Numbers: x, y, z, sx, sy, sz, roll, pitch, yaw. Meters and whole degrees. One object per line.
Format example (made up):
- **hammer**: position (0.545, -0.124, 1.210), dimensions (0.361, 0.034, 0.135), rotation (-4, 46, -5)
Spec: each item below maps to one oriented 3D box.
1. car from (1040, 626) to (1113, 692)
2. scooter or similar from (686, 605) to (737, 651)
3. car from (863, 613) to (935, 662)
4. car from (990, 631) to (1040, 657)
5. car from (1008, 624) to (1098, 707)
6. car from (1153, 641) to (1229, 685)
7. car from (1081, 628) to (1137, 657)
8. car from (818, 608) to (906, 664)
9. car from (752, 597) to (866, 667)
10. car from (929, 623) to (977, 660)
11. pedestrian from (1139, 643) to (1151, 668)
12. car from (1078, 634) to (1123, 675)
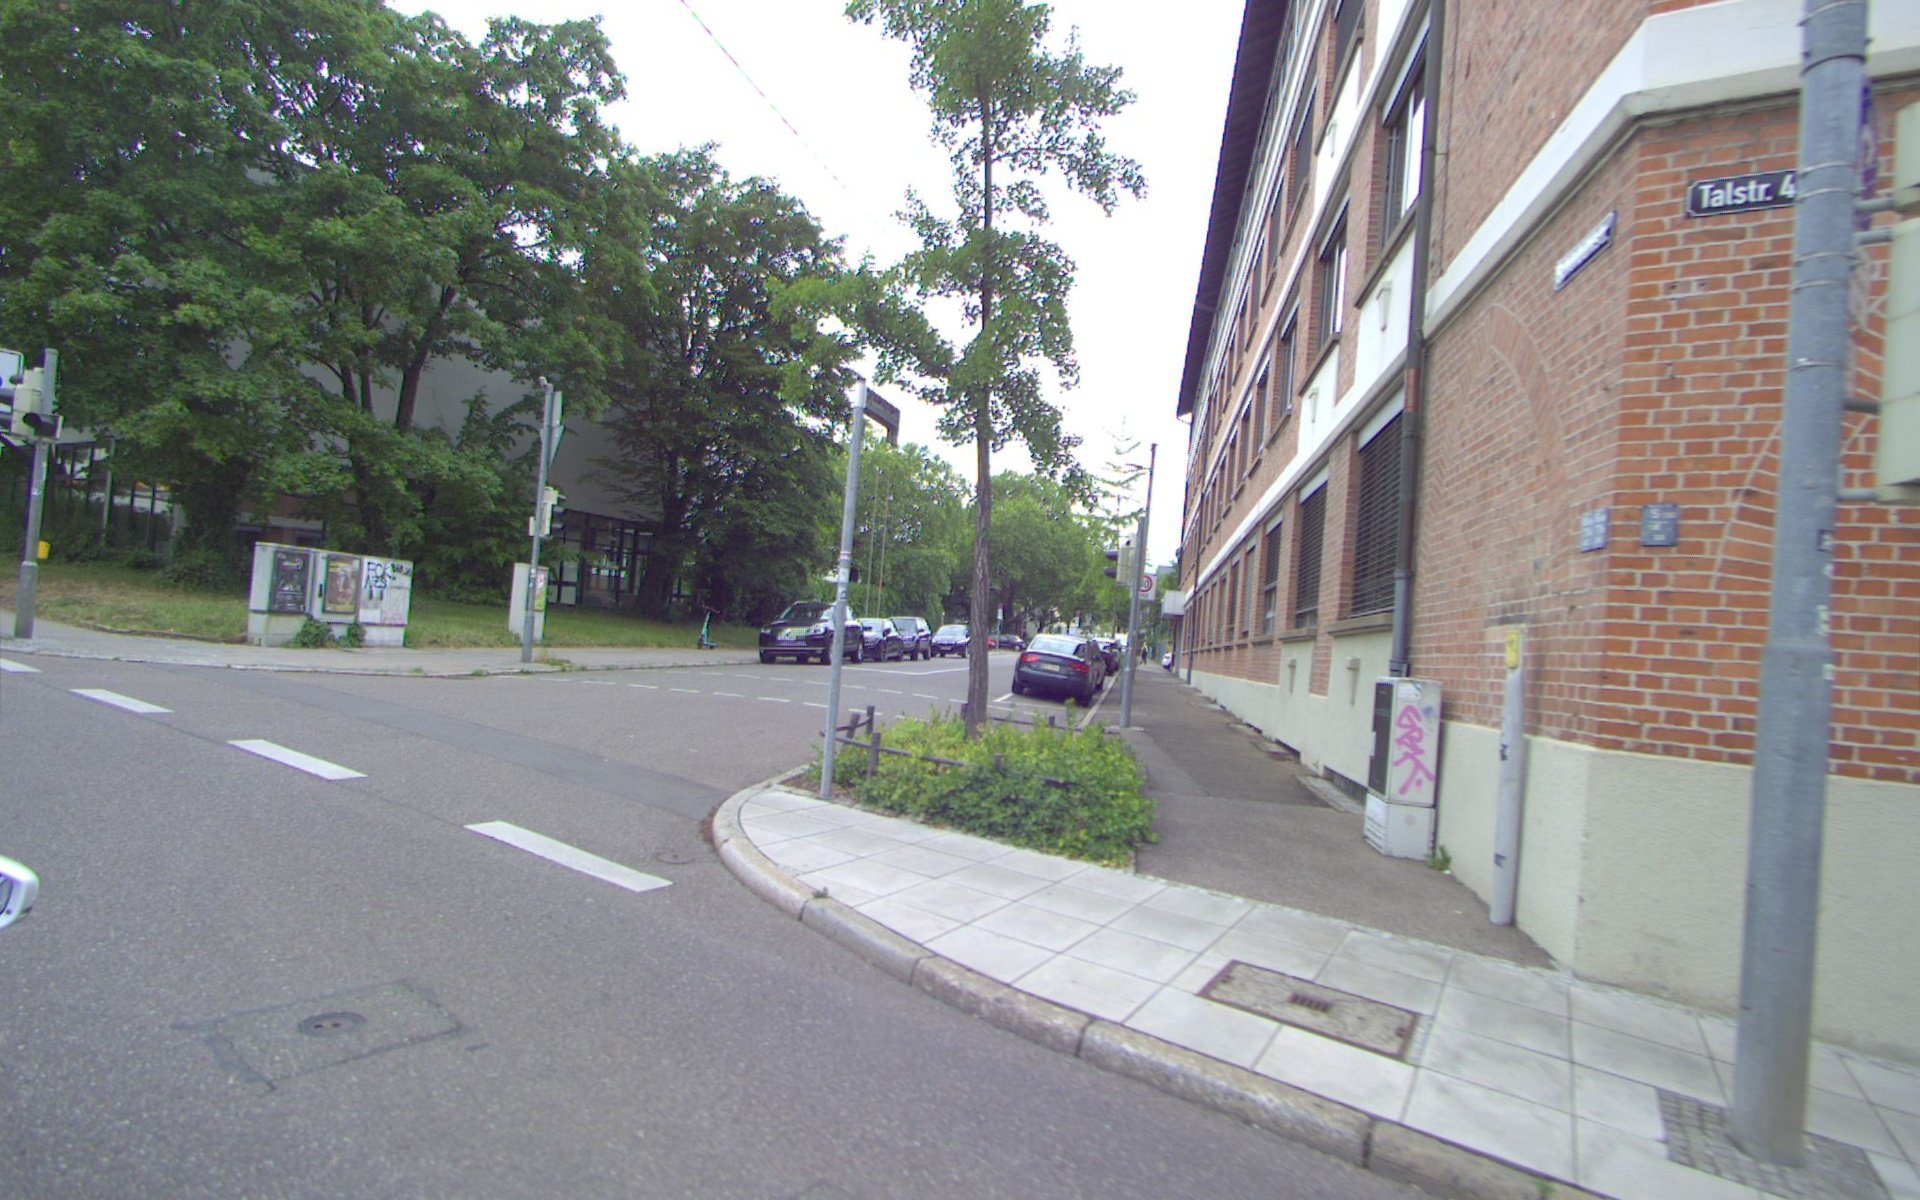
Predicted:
- **car**: position (3.335, 1.671, 28.550), dimensions (1.716, 1.534, 4.005), rotation (8, -2, 8)
- **scooter or similar**: position (-7.309, 0.844, 29.710), dimensions (0.521, 1.191, 1.770), rotation (7, -2, 15)
- **car**: position (-2.244, 1.458, 38.157), dimensions (1.910, 1.622, 4.005), rotation (4, -3, 8)
- **car**: position (5.014, 3.981, 91.358), dimensions (4.193, 1.764, 1.844), rotation (8, -2, 11)
- **car**: position (2.235, 1.498, 23.383), dimensions (1.716, 1.534, 4.005), rotation (8, -2, 8)
- **car**: position (13.633, 3.726, 59.325), dimensions (3.928, 2.037, 1.717), rotation (7, -2, 24)
- **car**: position (13.959, 3.984, 94.072), dimensions (4.954, 2.037, 2.003), rotation (8, -2, 11)
- **car**: position (-3.156, 1.223, 33.245), dimensions (1.910, 1.622, 4.005), rotation (4, -3, 8)
- **car**: position (-3.991, 0.917, 27.337), dimensions (1.910, 1.622, 4.093), rotation (4, -3, 8)
- **car**: position (-0.300, 2.059, 48.990), dimensions (1.742, 1.622, 4.005), rotation (4, -3, 8)
- **pedestrian**: position (13.896, 4.161, 75.549), dimensions (0.498, 1.832, 0.456), rotation (7, -1, 27)
- **car**: position (6.278, 2.445, 45.055), dimensions (1.716, 1.534, 4.005), rotation (8, -2, 8)
